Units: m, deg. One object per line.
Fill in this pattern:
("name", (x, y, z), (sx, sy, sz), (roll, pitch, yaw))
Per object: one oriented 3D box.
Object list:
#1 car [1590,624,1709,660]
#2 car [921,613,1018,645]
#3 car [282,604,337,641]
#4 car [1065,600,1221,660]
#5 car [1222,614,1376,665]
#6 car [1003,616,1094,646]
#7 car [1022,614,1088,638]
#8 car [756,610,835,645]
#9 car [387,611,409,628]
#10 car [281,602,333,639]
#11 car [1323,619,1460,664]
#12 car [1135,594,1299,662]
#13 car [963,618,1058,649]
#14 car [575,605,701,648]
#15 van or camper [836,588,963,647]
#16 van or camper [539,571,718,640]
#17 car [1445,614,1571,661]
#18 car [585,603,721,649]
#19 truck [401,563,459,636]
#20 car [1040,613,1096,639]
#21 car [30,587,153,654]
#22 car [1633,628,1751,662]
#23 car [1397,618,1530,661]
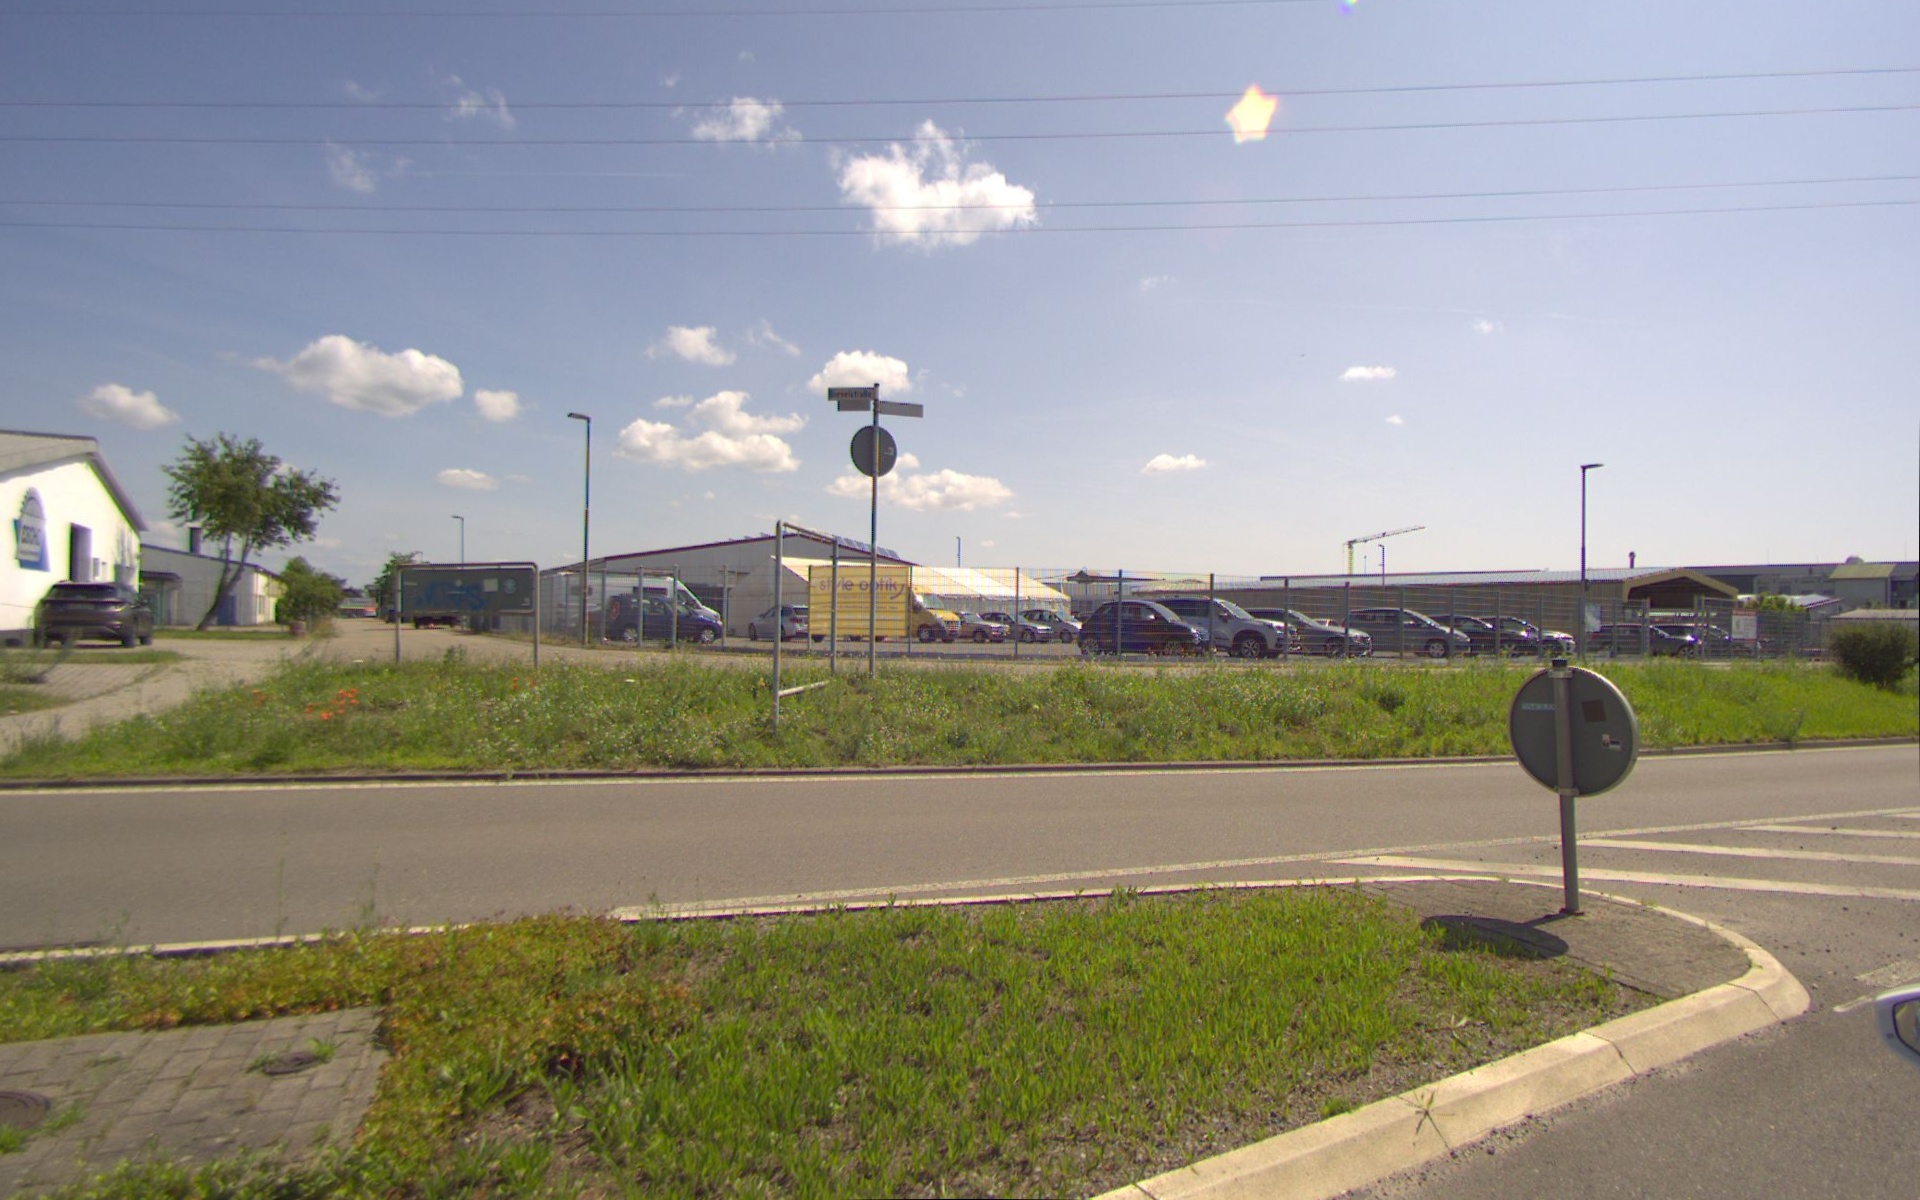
("car", (28.725, 1.716, 42.000), (3.930, 1.327, 1.939), (1, -1, 31))
("car", (0.415, 1.266, 44.837), (3.930, 1.327, 1.939), (1, -1, 31))
("car", (-29.996, 1.011, 46.415), (1.978, 1.575, 4.773), (2, -1, -31))
("car", (4.690, 0.744, 25.845), (3.512, 1.420, 1.795), (1, -1, 36))
("car", (9.840, 1.120, 29.198), (3.930, 1.327, 1.939), (1, -1, 31))
("car", (4.289, 1.468, 48.669), (3.930, 1.327, 1.939), (1, -1, 31))
("car", (6.088, 1.702, 64.481), (3.960, 1.461, 1.864), (2, -1, -35))
("car", (-6.681, 1.095, 40.425), (1.975, 1.327, 3.970), (1, -1, -28))
("car", (-63.729, 2.218, 113.828), (1.978, 1.812, 4.258), (2, -1, -32))
("car", (-32.809, 1.025, 50.574), (1.977, 1.766, 4.456), (1, -1, -31))
("car", (14.238, 1.330, 33.160), (3.930, 1.327, 1.939), (1, -1, 31))
("car", (7.031, 0.737, 27.598), (4.036, 1.727, 1.720), (0, -1, 31))
("car", (2.317, 1.521, 46.264), (3.930, 1.327, 1.939), (1, -1, 31))
("car", (-11.524, 0.946, 35.980), (3.954, 1.452, 1.910), (2, -1, -31))
("van or camper", (-2.630, 0.723, 42.935), (5.246, 2.407, 1.890), (1, -1, 31))
("van or camper", (-13.569, 0.288, 41.350), (6.692, 2.634, 1.984), (2, -1, -31))
("car", (20.086, 1.341, 36.856), (3.930, 1.561, 1.939), (1, -1, 31))
("car", (-10.225, 0.863, 33.544), (3.962, 1.452, 1.906), (2, -1, -36))
("truck", (-35.910, 0.006, 67.890), (2.814, 4.577, 8.520), (1, -1, -32))
("car", (7.478, 1.800, 70.070), (1.976, 1.717, 3.969), (1, -1, -29))
("car", (-21.761, 0.491, 25.331), (1.918, 1.545, 3.960), (1, -1, -35))
("car", (31.461, 1.901, 43.330), (3.930, 1.327, 1.939), (1, -1, 31))
("car", (17.431, 1.328, 34.801), (3.931, 1.327, 1.938), (1, -1, 33))
